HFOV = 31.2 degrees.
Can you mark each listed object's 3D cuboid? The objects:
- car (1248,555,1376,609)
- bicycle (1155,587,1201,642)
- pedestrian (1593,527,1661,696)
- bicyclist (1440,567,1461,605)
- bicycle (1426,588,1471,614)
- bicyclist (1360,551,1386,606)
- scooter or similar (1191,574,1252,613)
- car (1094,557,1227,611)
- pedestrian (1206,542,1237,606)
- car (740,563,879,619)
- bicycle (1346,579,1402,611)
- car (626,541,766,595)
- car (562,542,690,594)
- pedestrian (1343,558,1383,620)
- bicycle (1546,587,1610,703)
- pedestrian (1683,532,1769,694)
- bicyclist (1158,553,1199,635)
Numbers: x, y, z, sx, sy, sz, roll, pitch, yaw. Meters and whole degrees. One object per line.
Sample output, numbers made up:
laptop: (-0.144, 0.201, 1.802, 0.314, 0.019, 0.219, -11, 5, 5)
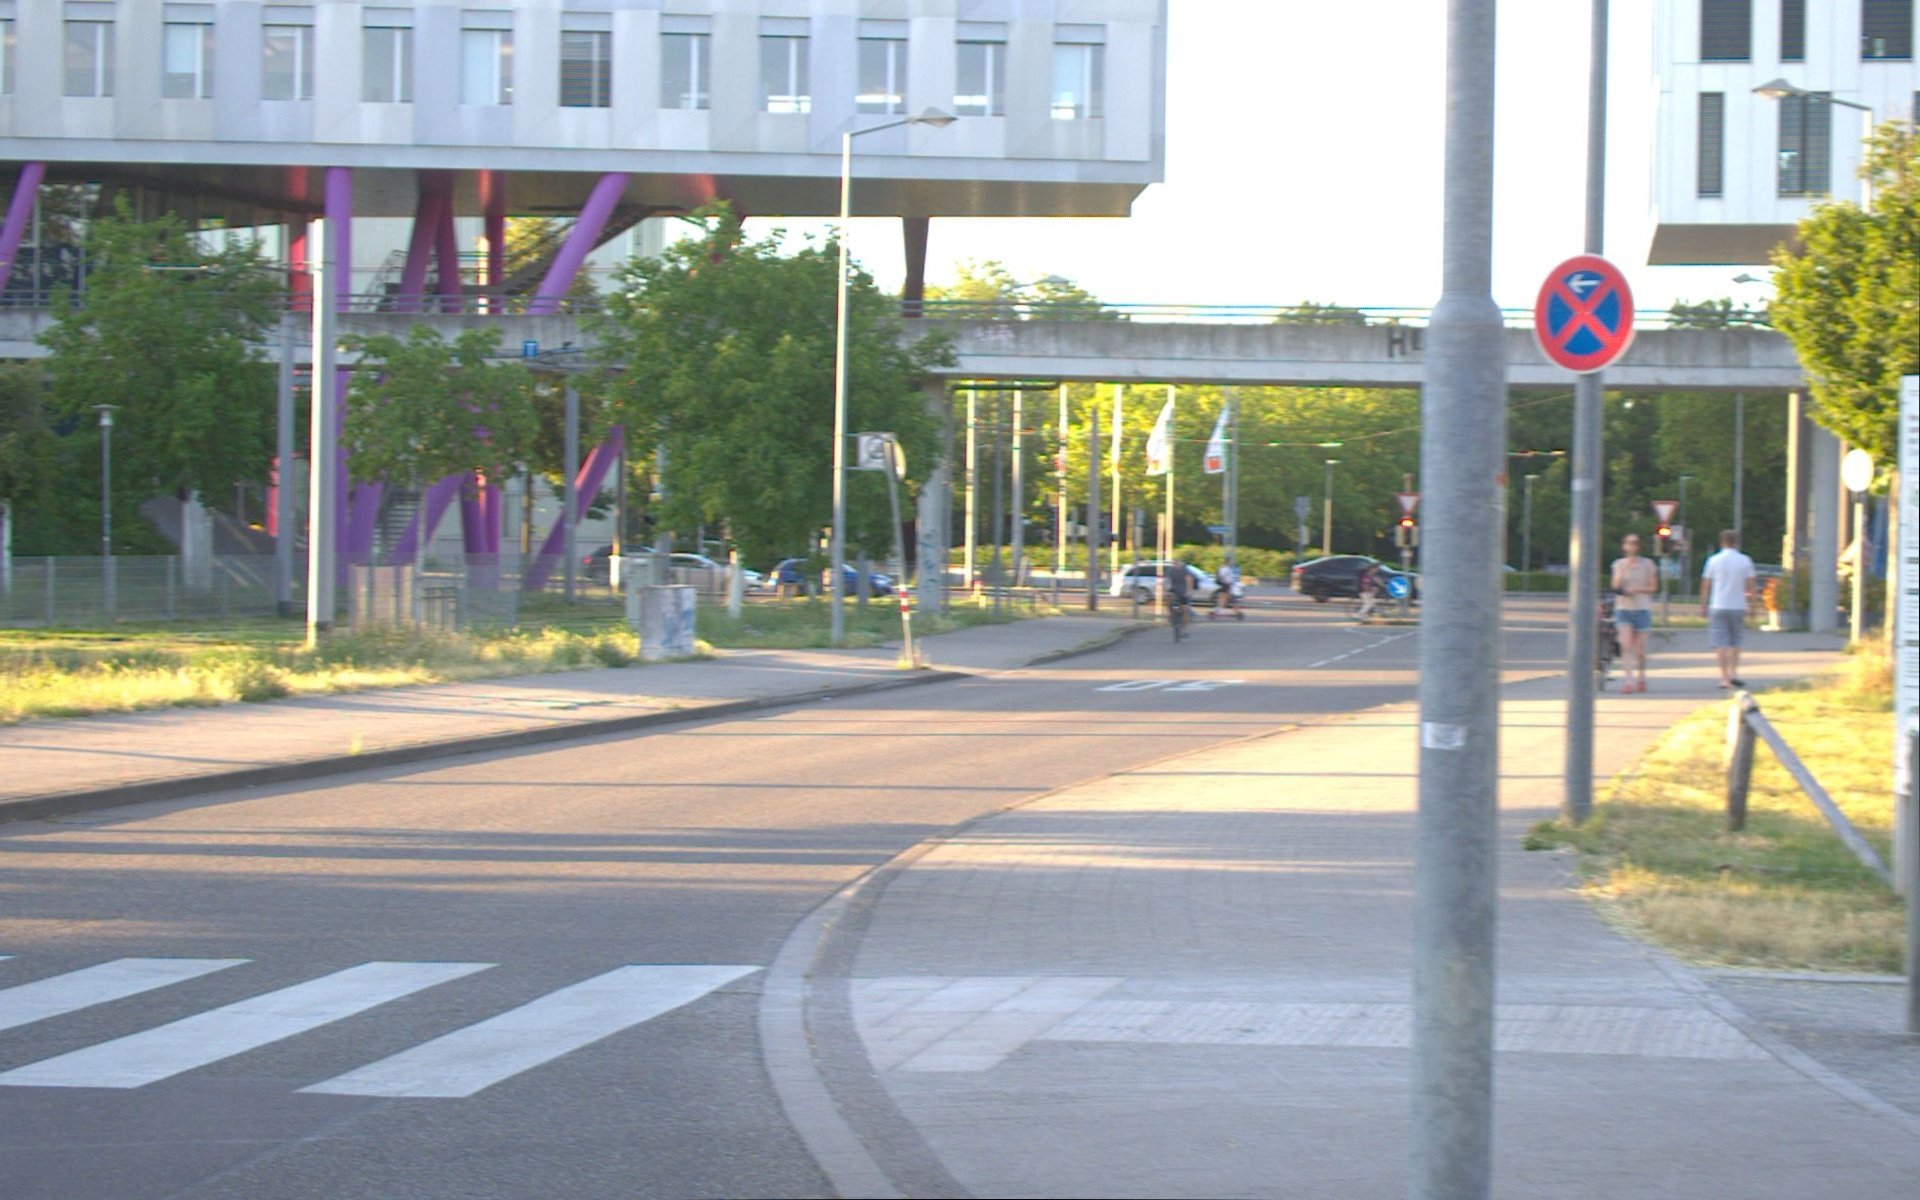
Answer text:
car: (12.765, -0.661, 124.682, 4.416, 1.793, 1.834, 1, 2, 12)
bicycle: (4.518, 0.291, 71.117, 0.539, 1.039, 1.924, 1, 2, 15)
pedestrian: (7.254, 0.114, 37.394, 0.595, 1.795, 0.817, 1, 2, 18)
bicyclist: (22.324, -0.635, 156.554, 0.756, 1.717, 0.552, 0, 2, -14)
bicycle: (22.253, 0.040, 156.560, 1.962, 1.124, 0.560, 0, 2, -15)
bicyclist: (12.857, -0.678, 106.963, 0.766, 1.698, 0.512, 1, 2, 8)
scooter or similar: (8.194, -0.207, 107.844, 1.860, 1.170, 0.764, 1, 2, 3)
car: (6.986, -0.565, 119.483, 4.415, 1.718, 1.834, 1, 2, 9)
pedestrian: (8.213, -0.815, 107.841, 0.909, 1.984, 0.771, 1, 2, 2)
car: (-5.259, -0.319, 120.664, 4.713, 1.822, 1.893, 1, 2, 2)
bicycle: (12.890, -0.143, 106.977, 1.694, 0.945, 0.512, 1, 2, 7)
car: (-9.564, -1.184, 124.609, 4.689, 1.822, 1.834, 1, 2, 12)
car: (-12.675, -1.228, 130.629, 4.469, 1.810, 1.944, 1, 2, 9)
pedestrian: (12.200, -0.325, 104.047, 1.053, 1.827, 0.895, 1, 2, -3)
bicycle: (6.777, 0.476, 37.635, 0.450, 1.164, 1.939, 1, 2, 17)
pedestrian: (8.571, 0.131, 38.438, 0.832, 1.760, 0.817, 2, 2, 18)
bicyclist: (4.515, -0.134, 71.090, 0.615, 1.657, 1.035, 1, 2, 15)
